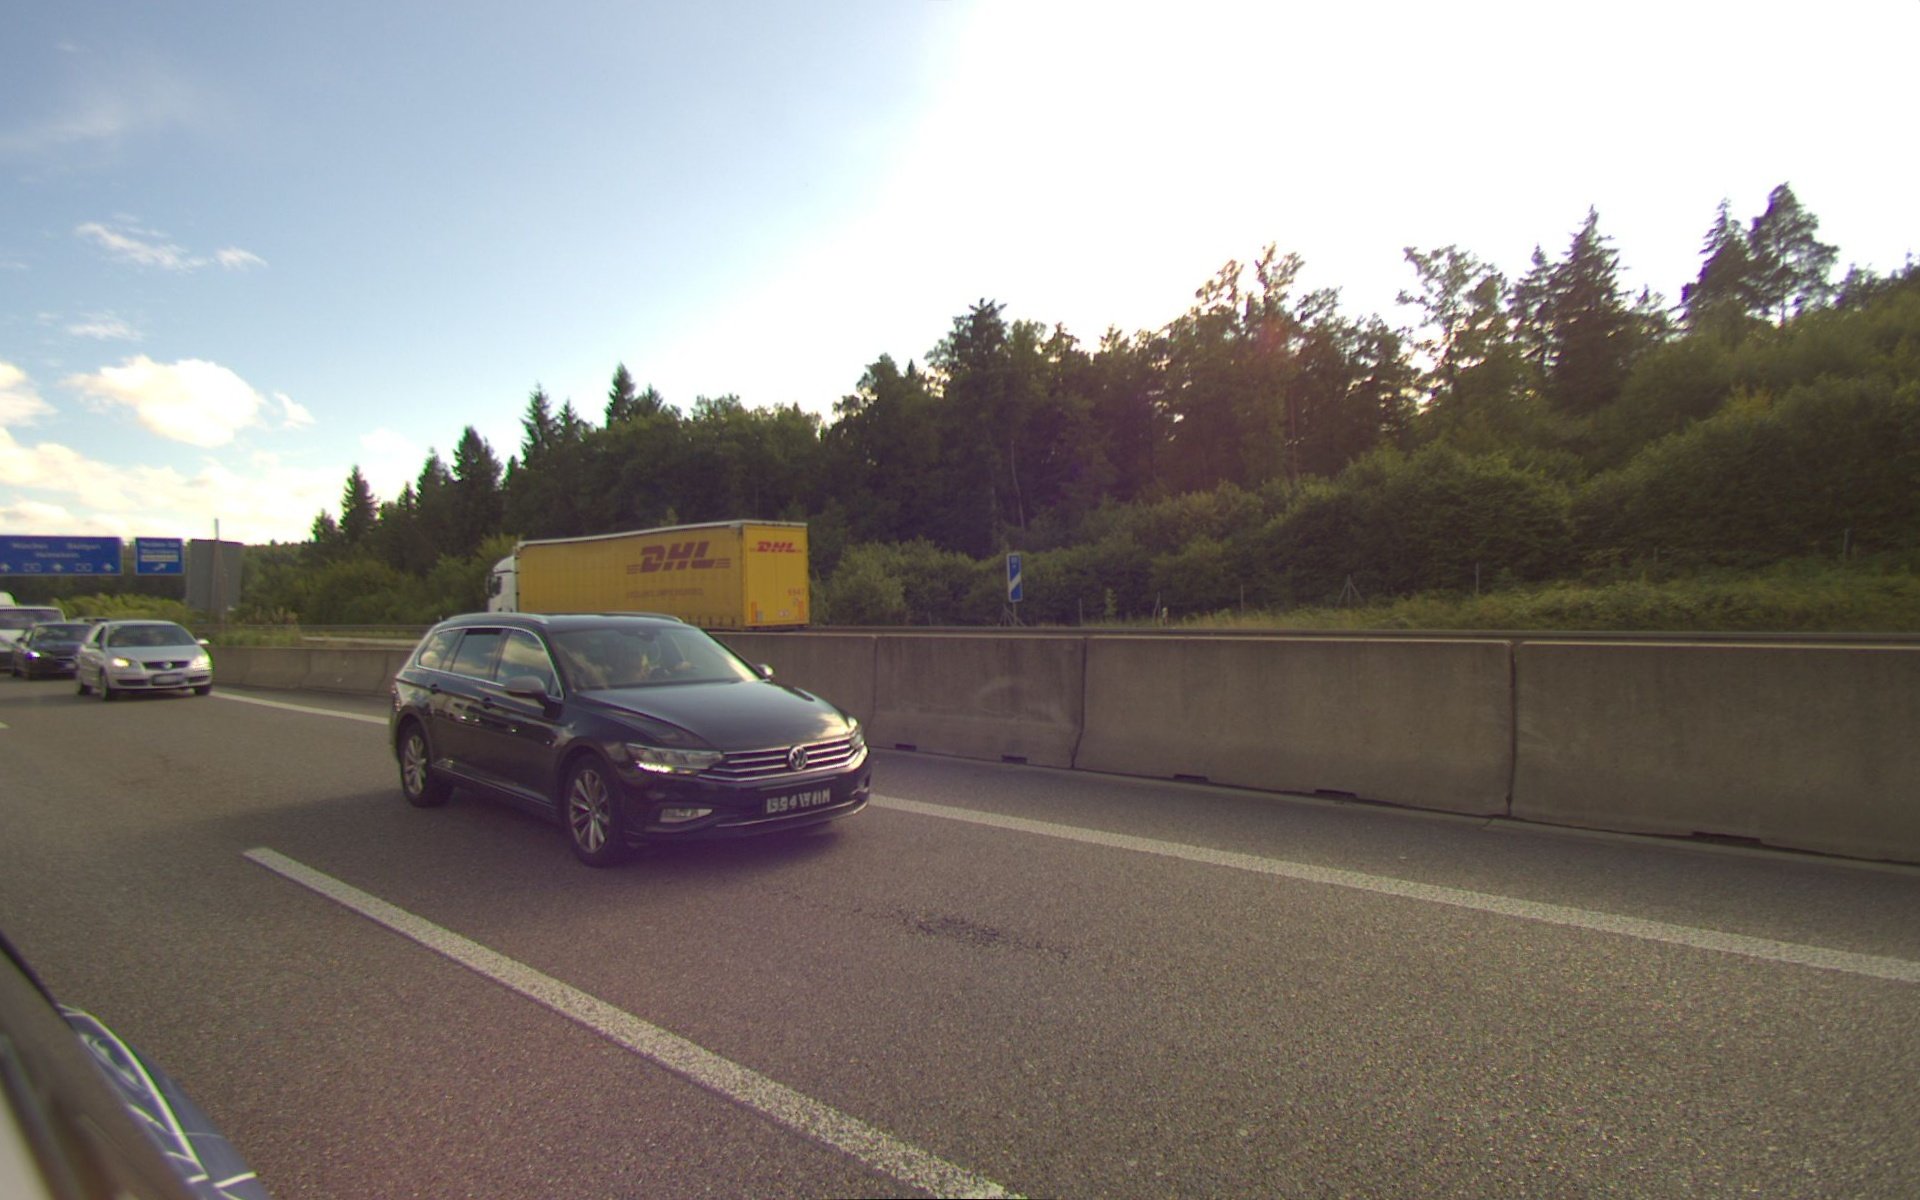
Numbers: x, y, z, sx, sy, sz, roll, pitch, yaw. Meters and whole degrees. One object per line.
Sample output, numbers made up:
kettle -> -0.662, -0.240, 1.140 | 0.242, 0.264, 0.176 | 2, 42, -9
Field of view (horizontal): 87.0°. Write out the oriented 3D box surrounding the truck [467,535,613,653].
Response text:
truck -> -16.432, -0.196, 39.447 | 6.075, 4.234, 2.805 | -1, 0, 40

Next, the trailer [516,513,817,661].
trailer -> -10.469, -0.325, 34.362 | 13.553, 4.234, 2.805 | -1, 0, 40

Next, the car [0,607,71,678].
car -> -28.765, 1.264, 30.795 | 4.845, 1.980, 1.922 | -1, -1, 41

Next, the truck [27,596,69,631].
truck -> -114.098, 1.681, 126.559 | 12.044, 4.234, 2.803 | -1, 0, 43

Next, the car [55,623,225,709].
car -> -16.138, 1.208, 19.828 | 4.664, 1.442, 1.786 | -1, 0, 41

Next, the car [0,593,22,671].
car -> -34.755, 1.123, 35.529 | 5.858, 2.591, 2.028 | -1, -2, 41

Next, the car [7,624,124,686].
car -> -23.370, 1.376, 26.403 | 3.991, 1.442, 1.786 | -1, 0, 41

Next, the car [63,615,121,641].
car -> -51.486, 1.637, 59.990 | 4.317, 1.442, 1.787 | -1, 0, 38

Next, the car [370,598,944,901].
car -> -2.414, 0.775, 7.238 | 4.568, 1.488, 1.890 | -1, -1, 43
